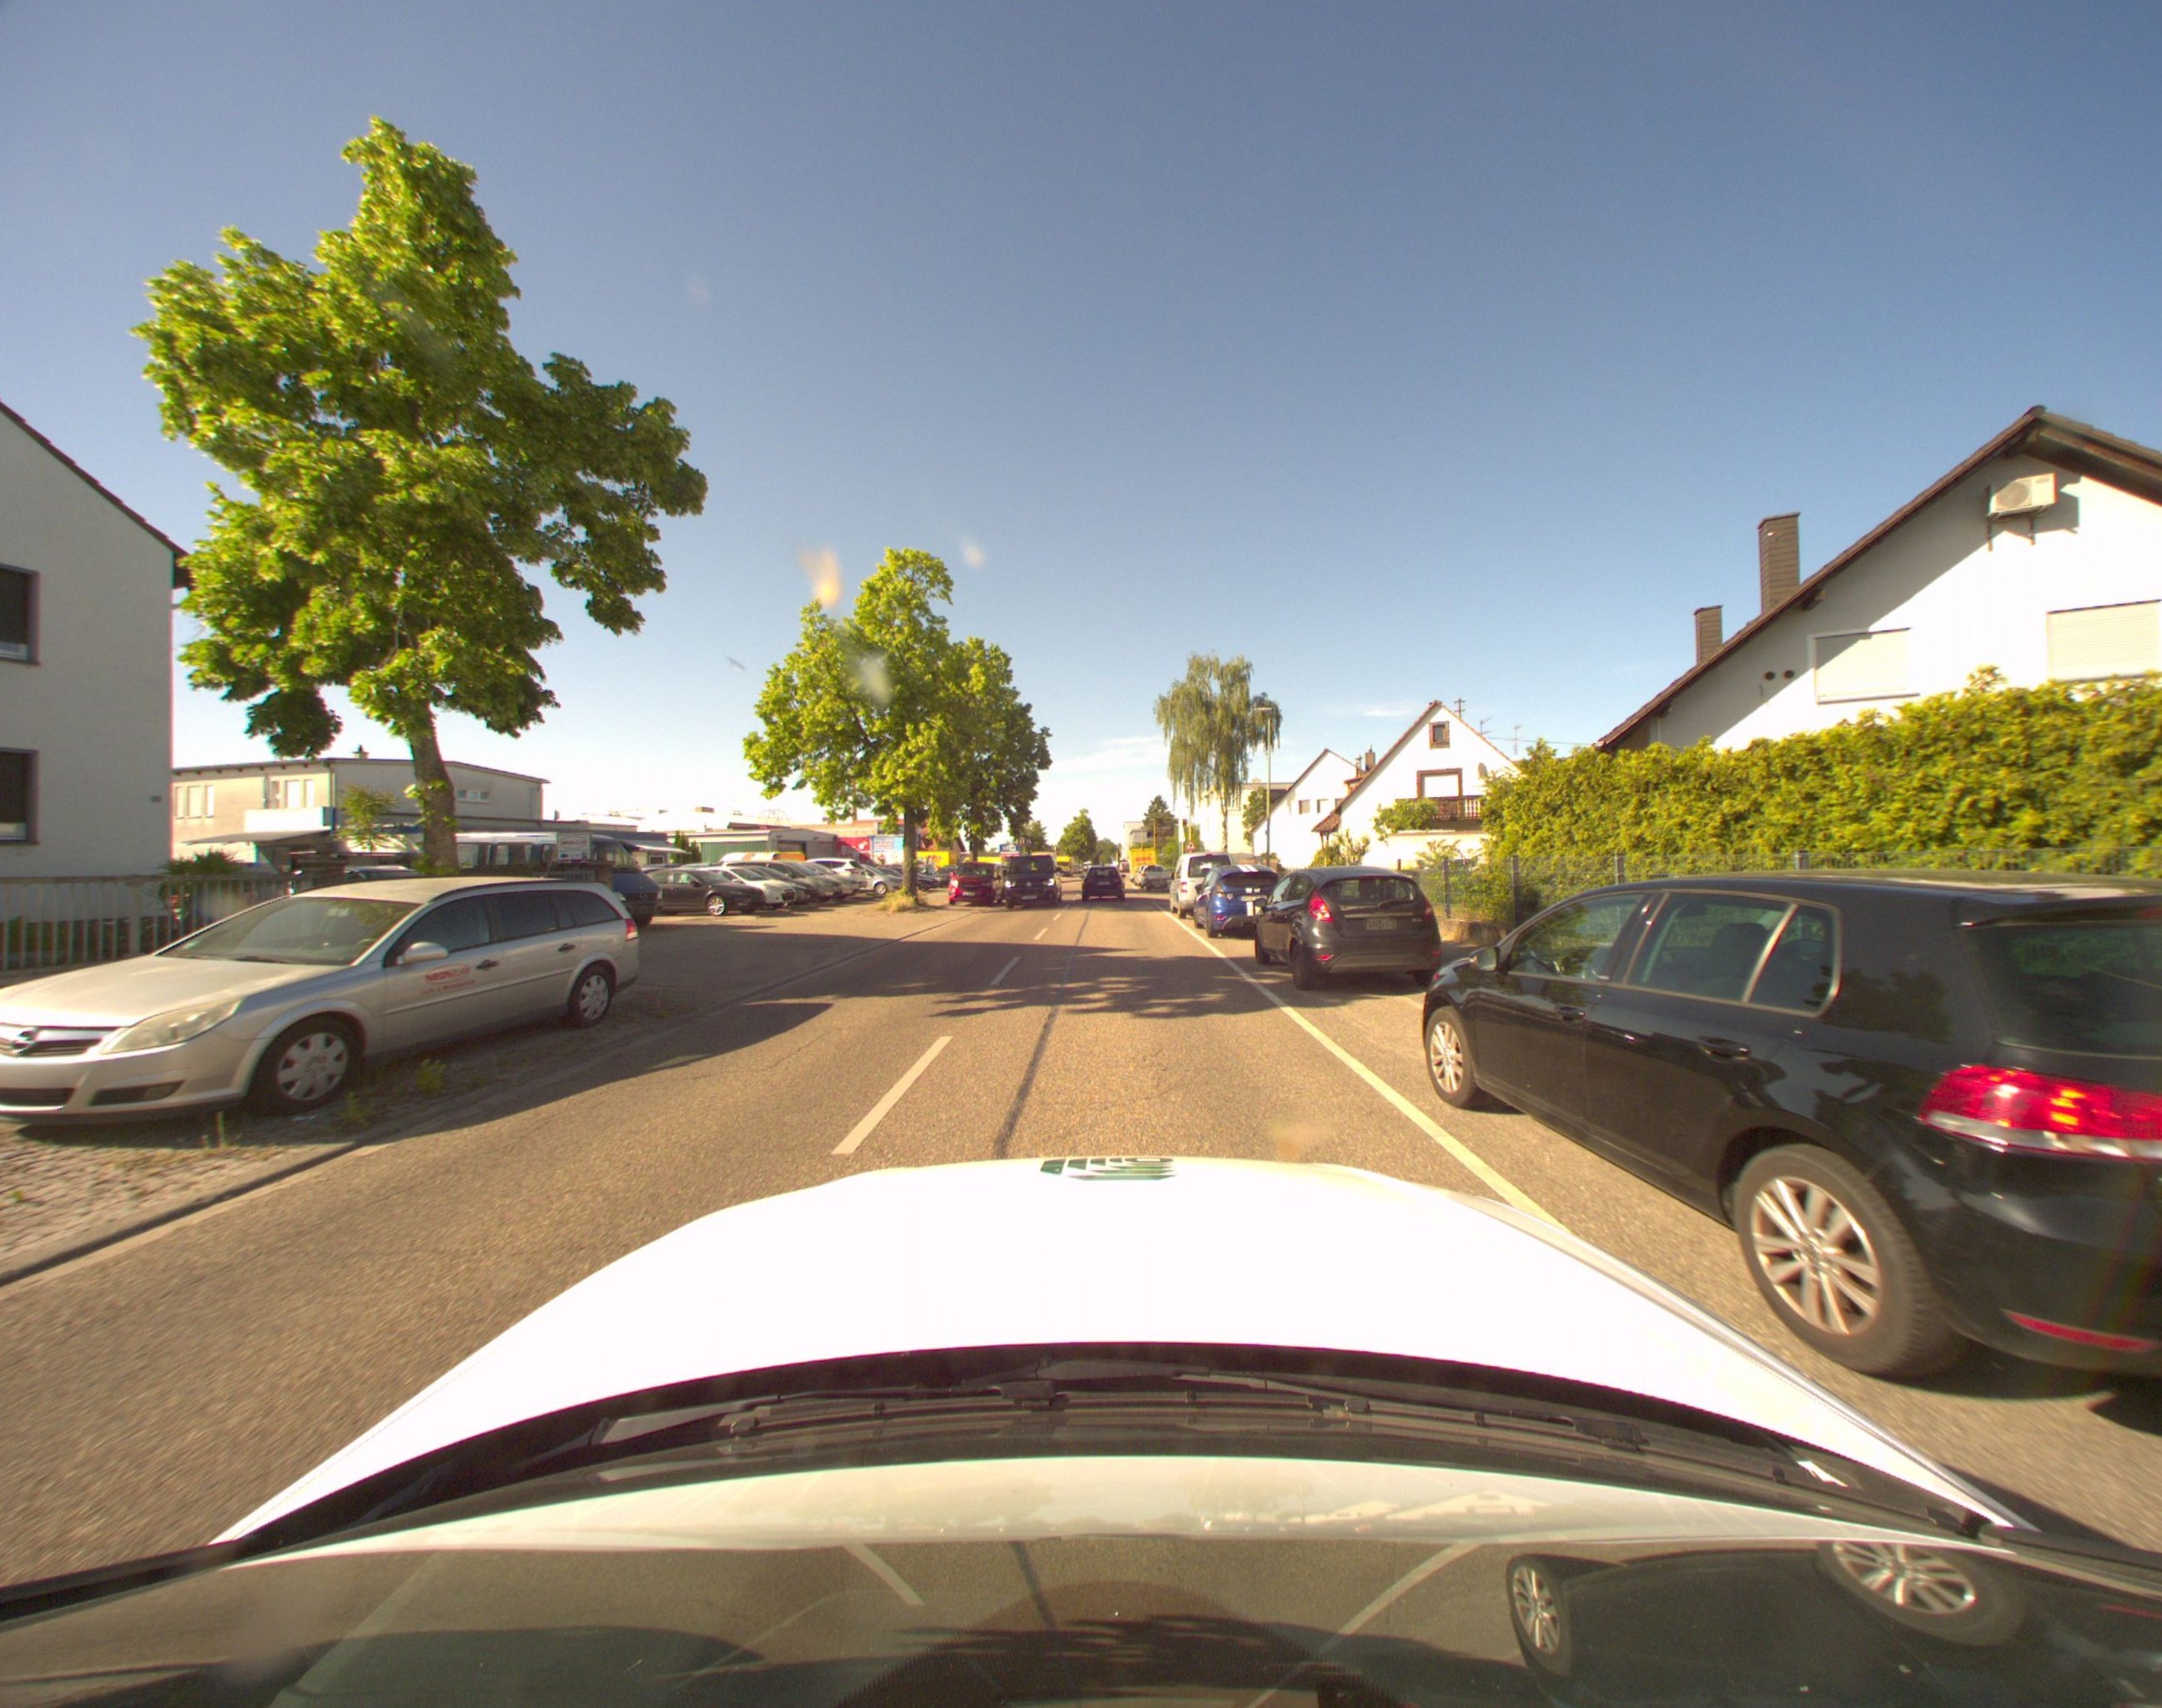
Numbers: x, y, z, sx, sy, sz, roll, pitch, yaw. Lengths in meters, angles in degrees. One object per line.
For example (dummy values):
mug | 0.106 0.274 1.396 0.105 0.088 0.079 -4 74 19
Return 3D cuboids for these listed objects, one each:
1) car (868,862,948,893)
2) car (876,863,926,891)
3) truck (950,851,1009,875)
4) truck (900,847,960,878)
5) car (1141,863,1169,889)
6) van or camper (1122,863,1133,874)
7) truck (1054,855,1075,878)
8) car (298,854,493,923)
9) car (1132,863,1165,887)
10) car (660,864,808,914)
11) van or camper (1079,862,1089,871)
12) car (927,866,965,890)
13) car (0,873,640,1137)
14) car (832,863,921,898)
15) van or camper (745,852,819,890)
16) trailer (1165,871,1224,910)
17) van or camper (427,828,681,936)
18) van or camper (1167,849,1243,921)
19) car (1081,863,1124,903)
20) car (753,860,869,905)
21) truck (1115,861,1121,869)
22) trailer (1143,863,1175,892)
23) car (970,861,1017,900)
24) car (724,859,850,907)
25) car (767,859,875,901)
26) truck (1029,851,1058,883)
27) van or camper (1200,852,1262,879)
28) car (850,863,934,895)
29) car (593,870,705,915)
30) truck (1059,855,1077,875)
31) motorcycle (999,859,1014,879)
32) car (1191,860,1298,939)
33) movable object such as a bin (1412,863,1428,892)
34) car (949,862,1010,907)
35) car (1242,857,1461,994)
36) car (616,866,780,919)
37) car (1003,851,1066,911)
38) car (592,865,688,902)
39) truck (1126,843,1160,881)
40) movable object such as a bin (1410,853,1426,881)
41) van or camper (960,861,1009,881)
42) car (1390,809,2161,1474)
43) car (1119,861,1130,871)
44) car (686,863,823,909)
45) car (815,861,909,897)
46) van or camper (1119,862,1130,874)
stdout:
car | -10.254 1.400 48.362 4.225 1.729 1.769 -1 -1 7
car | -12.510 1.577 56.897 1.764 1.748 4.179 -1 1 13
truck | -10.967 0.976 88.307 5.880 2.568 2.231 0 -1 13
truck | -16.006 0.894 86.471 5.629 3.119 2.532 0 -1 13
car | 4.670 1.363 51.400 1.666 1.542 4.049 0 -1 5
van or camper | 8.880 2.681 155.399 1.911 2.019 4.081 -1 -1 2
truck | -2.196 1.705 111.379 2.393 2.983 6.376 1 -1 2
car | -17.038 0.870 20.284 3.953 1.579 1.685 -2 -3 15
car | 4.700 1.439 57.380 1.779 1.542 4.534 -1 -1 -2
car | -11.677 1.164 27.563 4.227 1.542 1.769 -1 0 6
van or camper | 0.712 3.415 219.247 2.317 2.362 6.523 -1 -1 -2
car | -9.433 1.709 57.137 1.855 1.590 4.276 -1 -3 1
car | -5.856 0.929 6.909 1.679 1.435 4.213 1 0 4
car | -10.911 1.395 43.624 4.225 1.729 1.769 -1 -1 7
van or camper | -22.370 1.241 61.252 2.150 2.715 6.290 -1 -1 12
trailer | 3.968 1.259 28.869 1.622 1.217 3.143 -1 -1 -1
van or camper | -12.295 0.652 19.115 4.857 2.320 2.252 -1 -1 14
van or camper | 3.490 0.852 23.618 1.712 1.891 4.181 -1 -1 2
car | 0.953 1.172 34.339 1.704 1.532 3.690 -1 0 3
car | -11.279 1.176 34.181 4.225 1.729 1.769 -1 -1 7
truck | 11.547 3.478 254.698 1.986 2.288 6.958 -1 -1 2
trailer | 4.345 1.292 45.605 1.620 1.538 3.200 -1 -1 3
car | -4.219 1.260 39.966 1.668 1.771 4.556 1 -1 1
car | -11.477 1.123 31.904 4.228 1.752 1.768 -1 -1 5
car | -11.656 1.152 36.615 4.225 1.729 1.769 -1 -1 7
truck | -3.643 1.301 81.230 2.394 2.983 7.245 1 -1 1
van or camper | 15.016 1.106 81.414 5.840 2.541 2.272 -1 -1 -24
car | -10.605 1.395 45.841 4.225 1.729 1.769 -1 -1 7
car | -15.999 1.380 30.391 1.655 1.517 4.009 -1 -1 8
truck | -1.863 1.625 120.735 2.183 2.902 6.443 1 -1 3
motorcycle | -7.303 1.478 79.778 0.777 1.873 3.046 2 0 6
car | 3.426 0.905 17.611 1.712 1.505 3.565 -1 -1 2
movable object such as a bin | 12.569 0.870 30.197 0.498 1.079 0.461 -1 -1 29
car | -4.134 1.217 33.928 1.796 1.752 4.344 1 -1 2
car | 3.409 0.821 11.044 1.713 1.505 3.907 -1 -1 1
car | -11.707 1.161 25.018 4.225 1.542 1.769 -1 -1 7
car | -1.707 0.995 31.530 1.887 2.031 4.820 -3 -1 2
car | -19.829 1.278 36.830 1.687 1.556 4.011 -1 -1 10
truck | 5.241 0.730 69.682 2.394 2.937 7.018 -3 -1 2
movable object such as a bin | 12.558 0.485 30.327 0.498 1.026 0.461 -1 -1 29
van or camper | -10.092 1.767 85.325 4.517 2.014 2.256 -1 -1 8
car | 3.111 0.728 3.965 1.770 1.659 3.815 0 -1 0
car | 7.918 2.152 149.926 1.911 1.825 4.081 -1 -1 2
car | -11.783 1.148 29.572 4.234 1.586 1.766 0 0 0
car | -11.079 1.263 41.432 4.230 1.729 1.767 -1 -1 3
van or camper | 8.538 2.682 160.442 1.986 2.310 4.002 -1 -1 2
